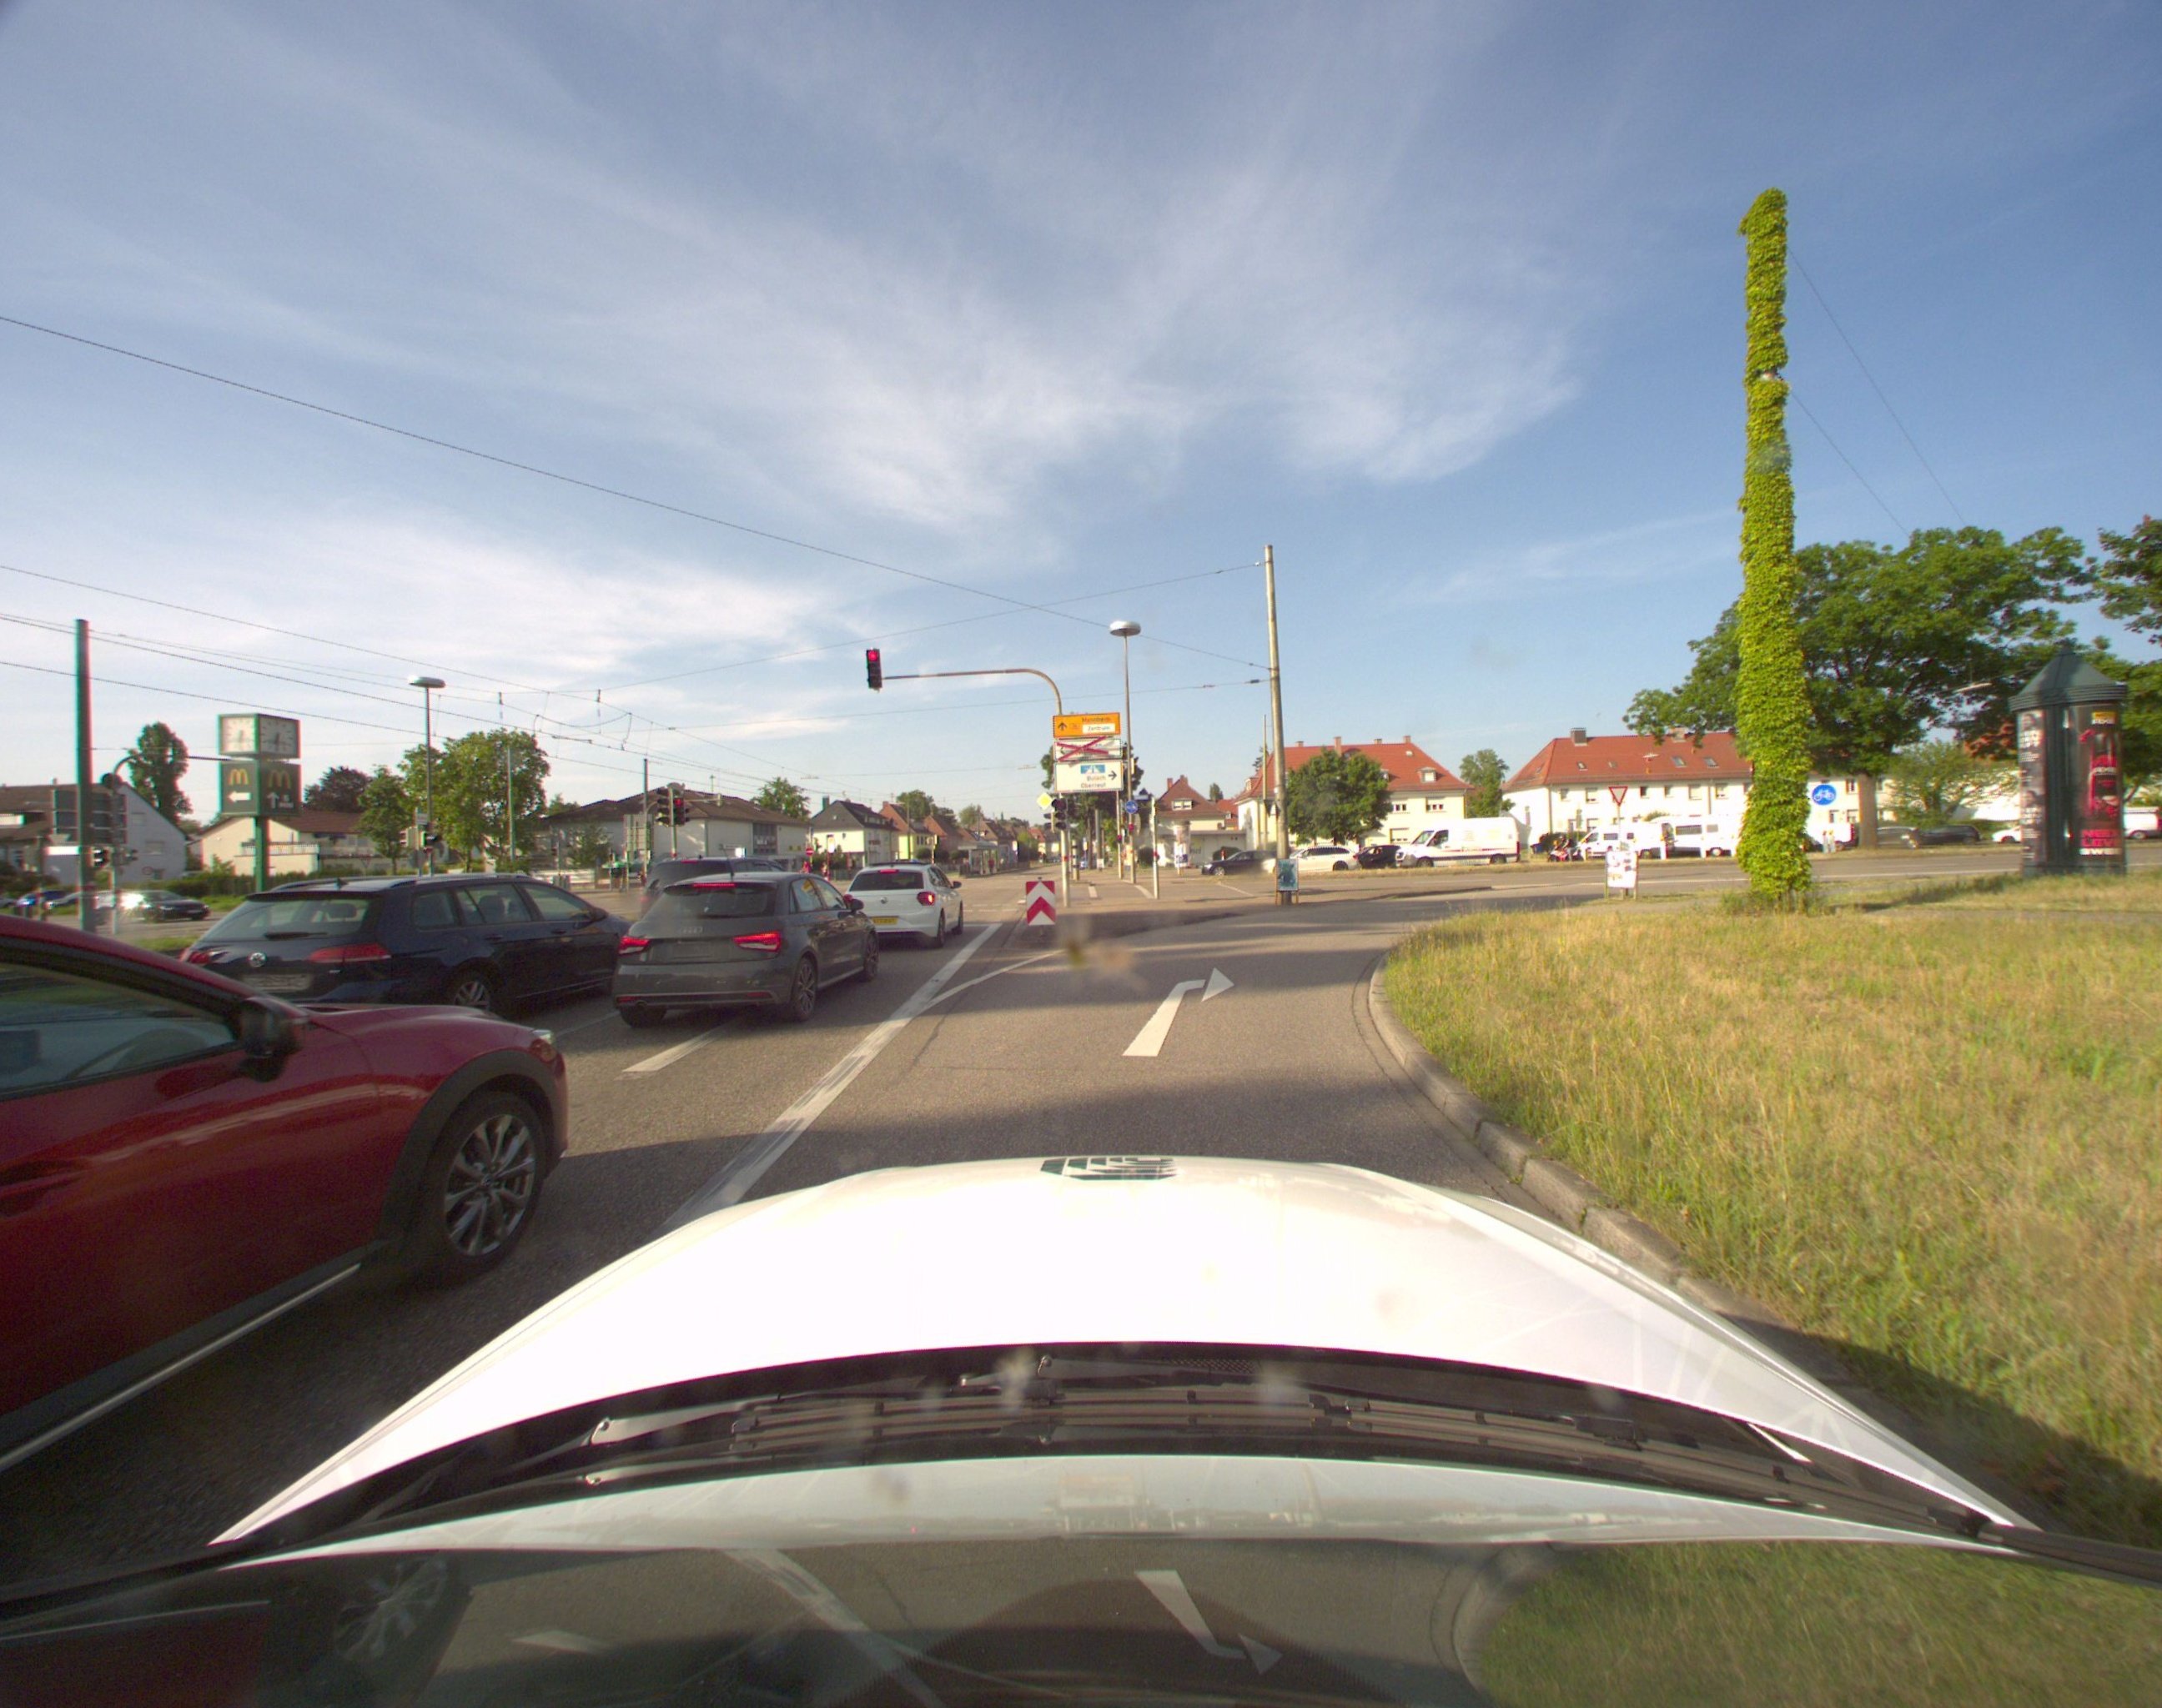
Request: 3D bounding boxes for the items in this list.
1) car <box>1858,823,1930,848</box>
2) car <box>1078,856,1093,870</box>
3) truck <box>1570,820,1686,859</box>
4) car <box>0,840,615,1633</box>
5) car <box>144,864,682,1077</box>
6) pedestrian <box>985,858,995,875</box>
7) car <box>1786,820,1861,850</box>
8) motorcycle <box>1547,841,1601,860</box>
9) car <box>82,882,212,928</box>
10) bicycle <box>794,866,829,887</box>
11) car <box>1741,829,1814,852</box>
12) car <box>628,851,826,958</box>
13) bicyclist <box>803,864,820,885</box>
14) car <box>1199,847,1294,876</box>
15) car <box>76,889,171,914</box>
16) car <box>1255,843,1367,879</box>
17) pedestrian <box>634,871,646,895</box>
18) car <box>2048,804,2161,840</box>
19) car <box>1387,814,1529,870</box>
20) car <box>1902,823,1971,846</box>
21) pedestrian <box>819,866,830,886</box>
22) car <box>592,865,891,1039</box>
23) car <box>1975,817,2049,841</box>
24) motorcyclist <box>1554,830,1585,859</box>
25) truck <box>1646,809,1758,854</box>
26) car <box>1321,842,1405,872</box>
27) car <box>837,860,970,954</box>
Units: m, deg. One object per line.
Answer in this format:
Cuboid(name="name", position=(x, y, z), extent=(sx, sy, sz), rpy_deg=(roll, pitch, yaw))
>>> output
Cuboid(name="car", position=(57.077, -1.291, 57.221), extent=(1.906, 1.514, 3.457), rpy_deg=(-2, -1, -42))
Cuboid(name="car", position=(0.515, 1.005, 89.015), extent=(1.669, 1.398, 4.000), rpy_deg=(-1, -1, 1))
Cuboid(name="truck", position=(37.821, -0.977, 56.528), extent=(2.287, 2.524, 6.289), rpy_deg=(-2, 0, -35))
Cuboid(name="car", position=(-3.003, 0.783, 1.817), extent=(1.702, 1.552, 3.974), rpy_deg=(-2, 0, -2))
Cuboid(name="car", position=(-6.136, 0.903, 8.391), extent=(1.693, 1.508, 4.554), rpy_deg=(-1, 0, 1))
Cuboid(name="pedestrian", position=(-7.906, 1.073, 70.986), extent=(0.750, 1.499, 0.827), rpy_deg=(-1, -1, 2))
Cuboid(name="car", position=(53.050, -1.317, 58.200), extent=(3.860, 1.920, 1.907), rpy_deg=(-3, -1, 44))
Cuboid(name="motorcycle", position=(24.375, -0.178, 40.273), extent=(2.264, 0.866, 0.690), rpy_deg=(-2, 0, -1))
Cuboid(name="car", position=(-40.933, 2.224, 35.743), extent=(3.972, 1.793, 1.520), rpy_deg=(-2, 0, 1))
Cuboid(name="bicycle", position=(-18.386, 1.528, 55.656), extent=(2.073, 1.348, 1.105), rpy_deg=(0, -1, -9))
Cuboid(name="car", position=(49.760, -0.985, 58.254), extent=(3.859, 1.456, 1.908), rpy_deg=(-3, -1, 41))
Cuboid(name="car", position=(-6.411, 0.814, 15.405), extent=(1.501, 1.651, 4.745), rpy_deg=(-2, 0, 1))
Cuboid(name="bicyclist", position=(-18.420, 1.374, 55.654), extent=(0.883, 1.431, 1.133), rpy_deg=(0, -1, -9))
Cuboid(name="car", position=(9.011, 0.414, 44.559), extent=(4.807, 1.411, 1.716), rpy_deg=(-2, 0, 0))
Cuboid(name="car", position=(-72.677, 3.562, 61.930), extent=(1.983, 1.684, 4.228), rpy_deg=(-1, -1, 7))
Cuboid(name="car", position=(11.502, 0.342, 40.942), extent=(5.077, 1.563, 1.840), rpy_deg=(-2, 0, 0))
Cuboid(name="pedestrian", position=(-30.301, 2.010, 55.906), extent=(0.511, 1.599, 0.538), rpy_deg=(-2, -1, -6))
Cuboid(name="car", position=(73.051, -2.269, 58.124), extent=(4.917, 2.232, 2.012), rpy_deg=(-3, -1, 44))
Cuboid(name="car", position=(18.944, -0.595, 41.071), extent=(6.187, 2.583, 2.000), rpy_deg=(-2, 0, 0))
Cuboid(name="car", position=(62.195, -1.422, 59.224), extent=(1.906, 1.514, 3.391), rpy_deg=(-2, -1, -42))
Cuboid(name="pedestrian", position=(-18.454, 1.551, 58.596), extent=(0.577, 1.431, 0.546), rpy_deg=(0, -1, -4))
Cuboid(name="car", position=(-3.398, 0.877, 8.999), extent=(1.636, 1.397, 3.827), rpy_deg=(-2, 0, 0))
Cuboid(name="car", position=(66.469, -1.804, 58.220), extent=(1.906, 1.514, 3.391), rpy_deg=(-2, -1, -42))
Cuboid(name="motorcyclist", position=(24.148, -0.462, 40.266), extent=(1.062, 1.352, 0.679), rpy_deg=(-2, 0, -1))
Cuboid(name="truck", position=(43.694, -1.523, 57.400), extent=(6.002, 2.854, 1.907), rpy_deg=(-3, -1, 44))
Cuboid(name="car", position=(15.334, 0.155, 44.457), extent=(3.973, 1.453, 1.716), rpy_deg=(-2, 0, 0))
Cuboid(name="car", position=(-3.138, 0.867, 15.138), extent=(1.652, 1.443, 4.011), rpy_deg=(-2, 0, -2))
